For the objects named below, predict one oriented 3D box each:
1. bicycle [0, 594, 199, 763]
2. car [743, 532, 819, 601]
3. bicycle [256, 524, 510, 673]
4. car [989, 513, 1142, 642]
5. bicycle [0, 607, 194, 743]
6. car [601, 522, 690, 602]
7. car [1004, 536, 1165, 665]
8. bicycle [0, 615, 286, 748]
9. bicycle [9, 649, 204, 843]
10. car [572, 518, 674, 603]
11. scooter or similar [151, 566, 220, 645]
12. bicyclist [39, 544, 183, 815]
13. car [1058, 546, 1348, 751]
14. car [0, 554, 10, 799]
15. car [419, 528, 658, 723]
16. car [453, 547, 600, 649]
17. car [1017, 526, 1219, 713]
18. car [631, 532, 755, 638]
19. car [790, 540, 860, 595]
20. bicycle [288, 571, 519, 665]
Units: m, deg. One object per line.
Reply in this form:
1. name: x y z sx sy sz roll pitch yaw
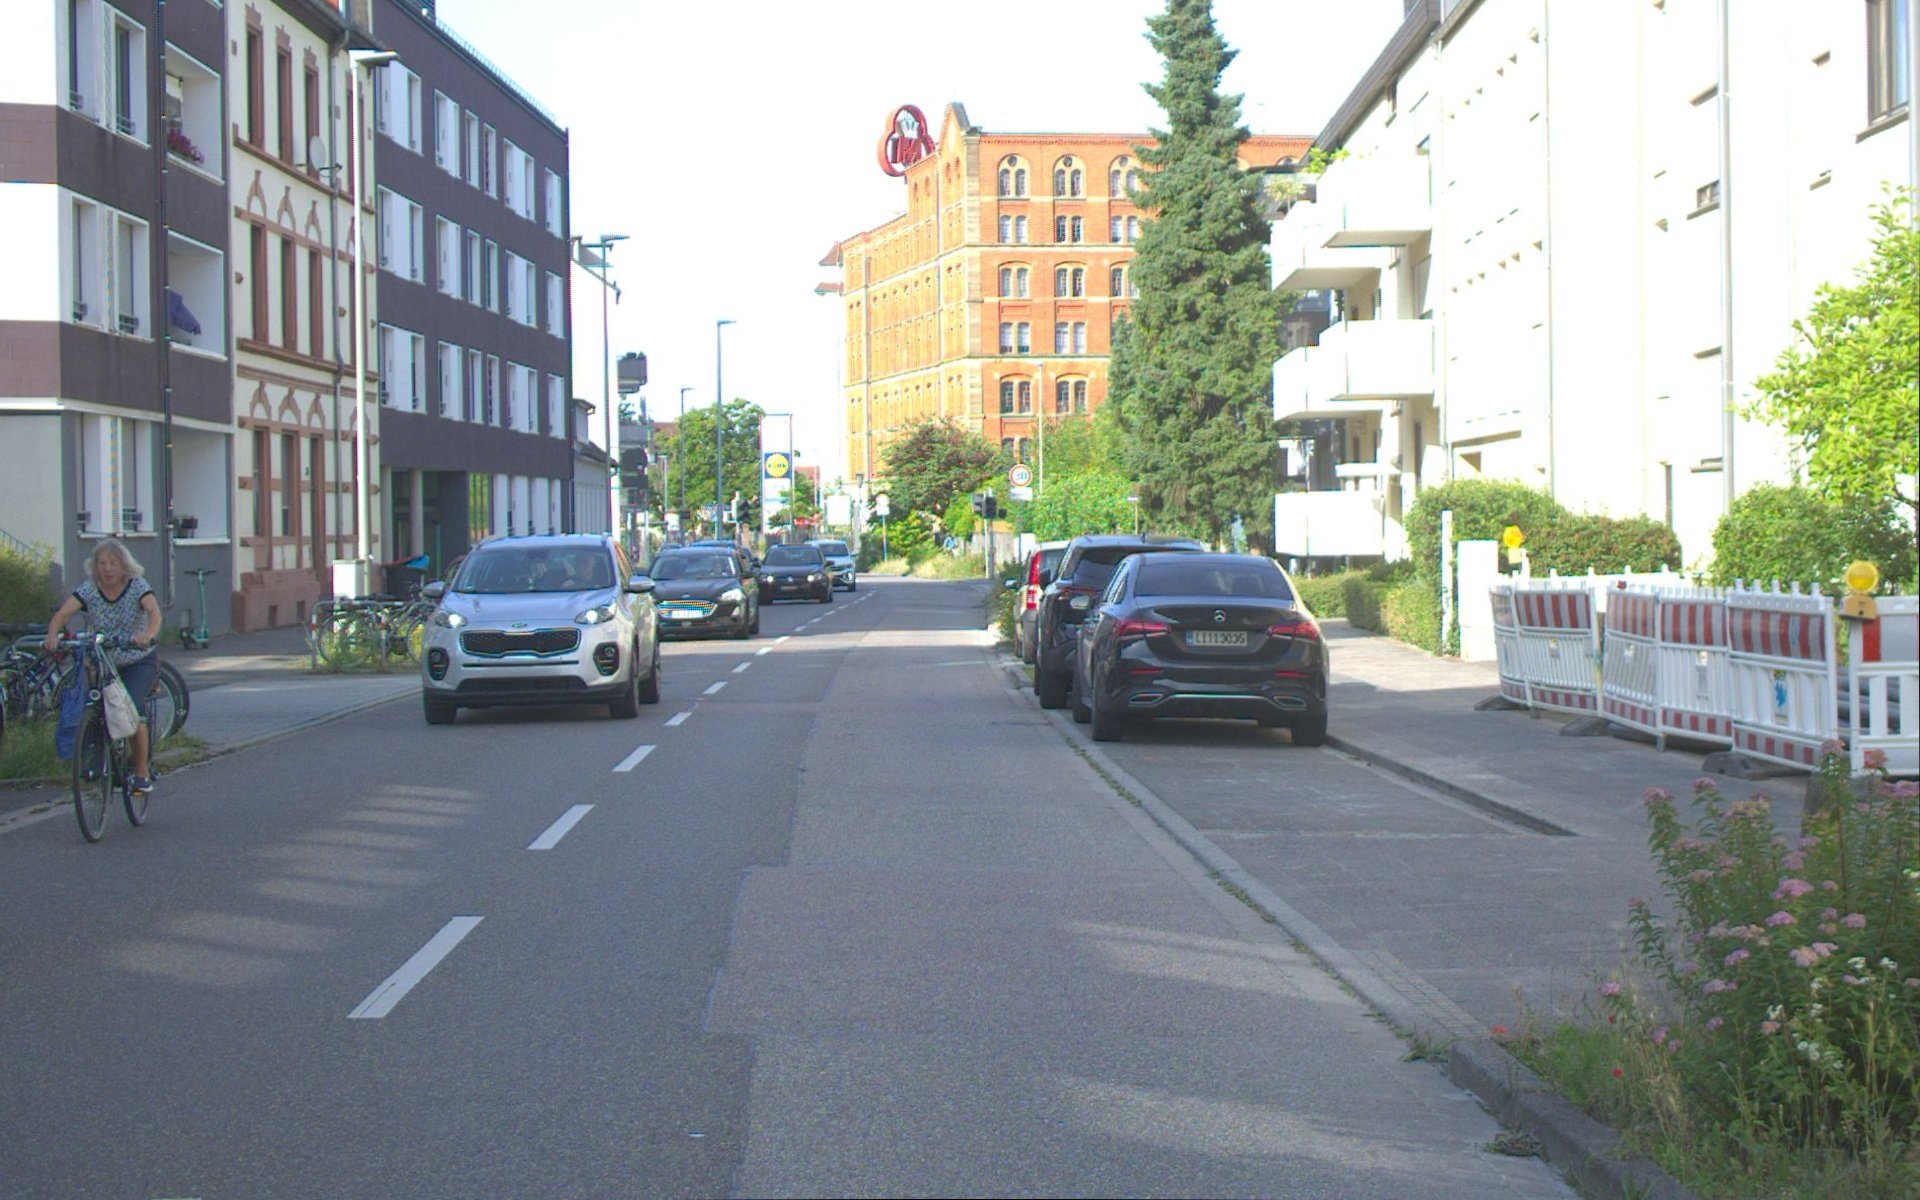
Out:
1. bicycle: -6.721 0.576 25.578 2.000 1.213 0.708 -1 1 -7
2. car: -4.370 -0.834 84.376 1.763 1.611 4.000 -1 1 -2
3. bicycle: -7.095 -0.030 42.404 2.917 1.771 1.202 -1 1 0
4. car: 1.464 -0.342 49.130 1.993 1.766 4.000 0 1 -1
5. bicycle: -6.904 0.585 27.165 1.584 1.037 0.708 -1 1 -7
6. car: -8.053 -0.996 88.424 1.993 2.007 4.000 0 1 -1
7. car: 1.549 -0.029 44.083 1.763 1.521 4.000 -2 1 -2
8. bicycle: -6.412 0.621 26.461 2.339 0.967 0.708 -1 1 -7
9. bicycle: -4.591 0.765 18.599 0.608 0.939 1.811 0 1 0
10. car: -7.665 -0.907 78.461 1.993 1.875 4.000 0 1 -1
11. scooter or similar: -11.166 0.075 49.597 0.633 1.100 1.610 1 1 -1
12. bicyclist: -4.592 0.415 18.634 0.591 1.437 0.750 0 1 0
13. car: 1.842 0.325 27.214 1.859 1.467 4.000 -1 1 -2
14. car: -6.615 0.504 19.259 1.676 1.496 4.001 0 1 -3
15. car: -3.749 0.184 31.157 1.763 1.611 4.000 -1 1 -2
16. car: -6.520 -0.058 52.002 1.840 1.459 3.585 0 1 -1
17. car: 1.440 0.143 32.442 1.601 1.640 3.685 -1 1 -2
18. car: -4.247 -0.264 55.181 1.763 1.611 4.000 -1 1 -2
19. car: -4.037 -0.997 103.221 1.993 1.590 4.000 0 1 -1
20. bicycle: -7.137 0.218 44.179 2.772 1.140 1.143 -1 1 0
